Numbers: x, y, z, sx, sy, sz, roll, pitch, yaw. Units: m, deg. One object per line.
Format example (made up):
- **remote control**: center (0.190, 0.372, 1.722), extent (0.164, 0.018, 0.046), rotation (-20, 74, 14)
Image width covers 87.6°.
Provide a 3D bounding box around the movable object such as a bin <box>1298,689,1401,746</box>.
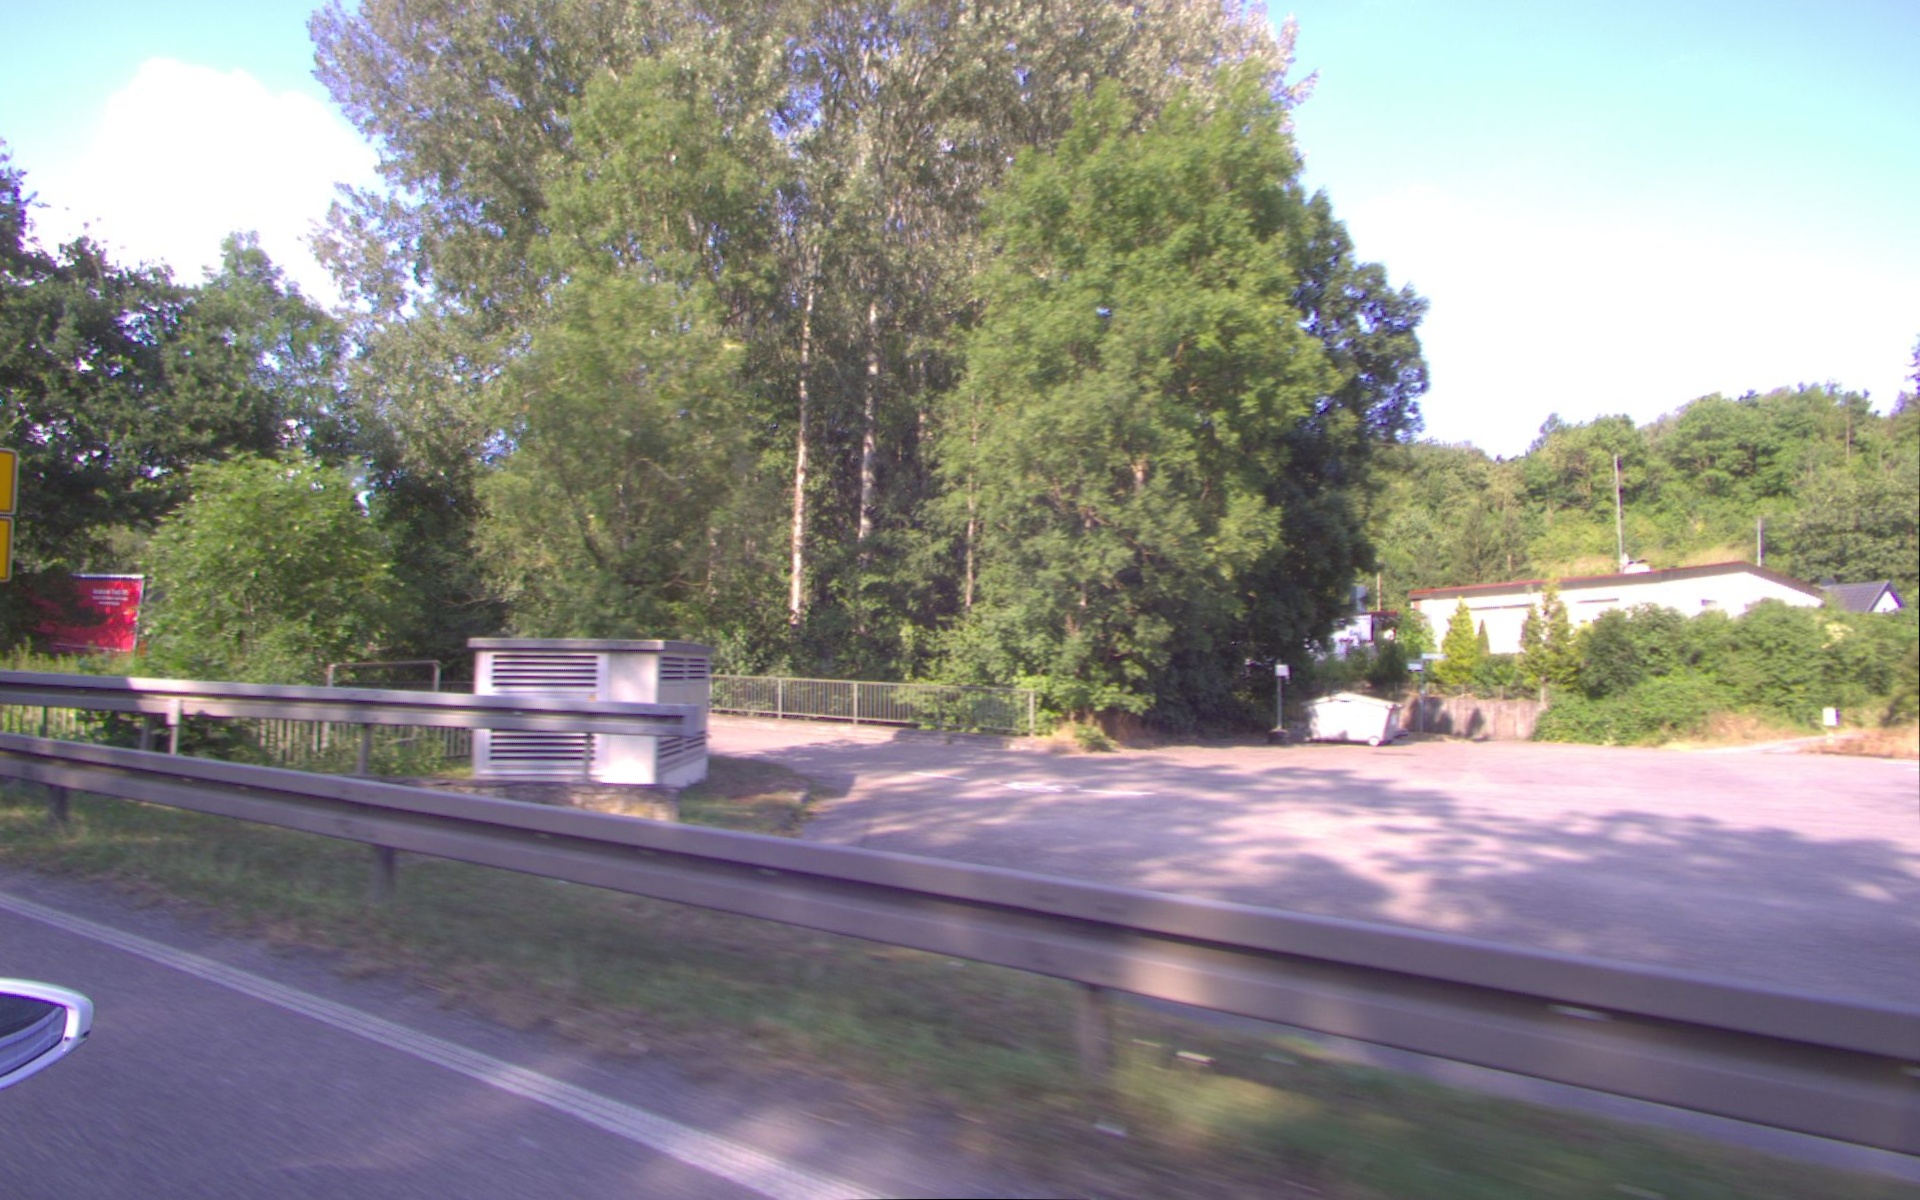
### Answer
- **movable object such as a bin**: center (10.893, 3.261, 28.010), extent (2.520, 1.436, 1.265), rotation (-1, -5, 32)
